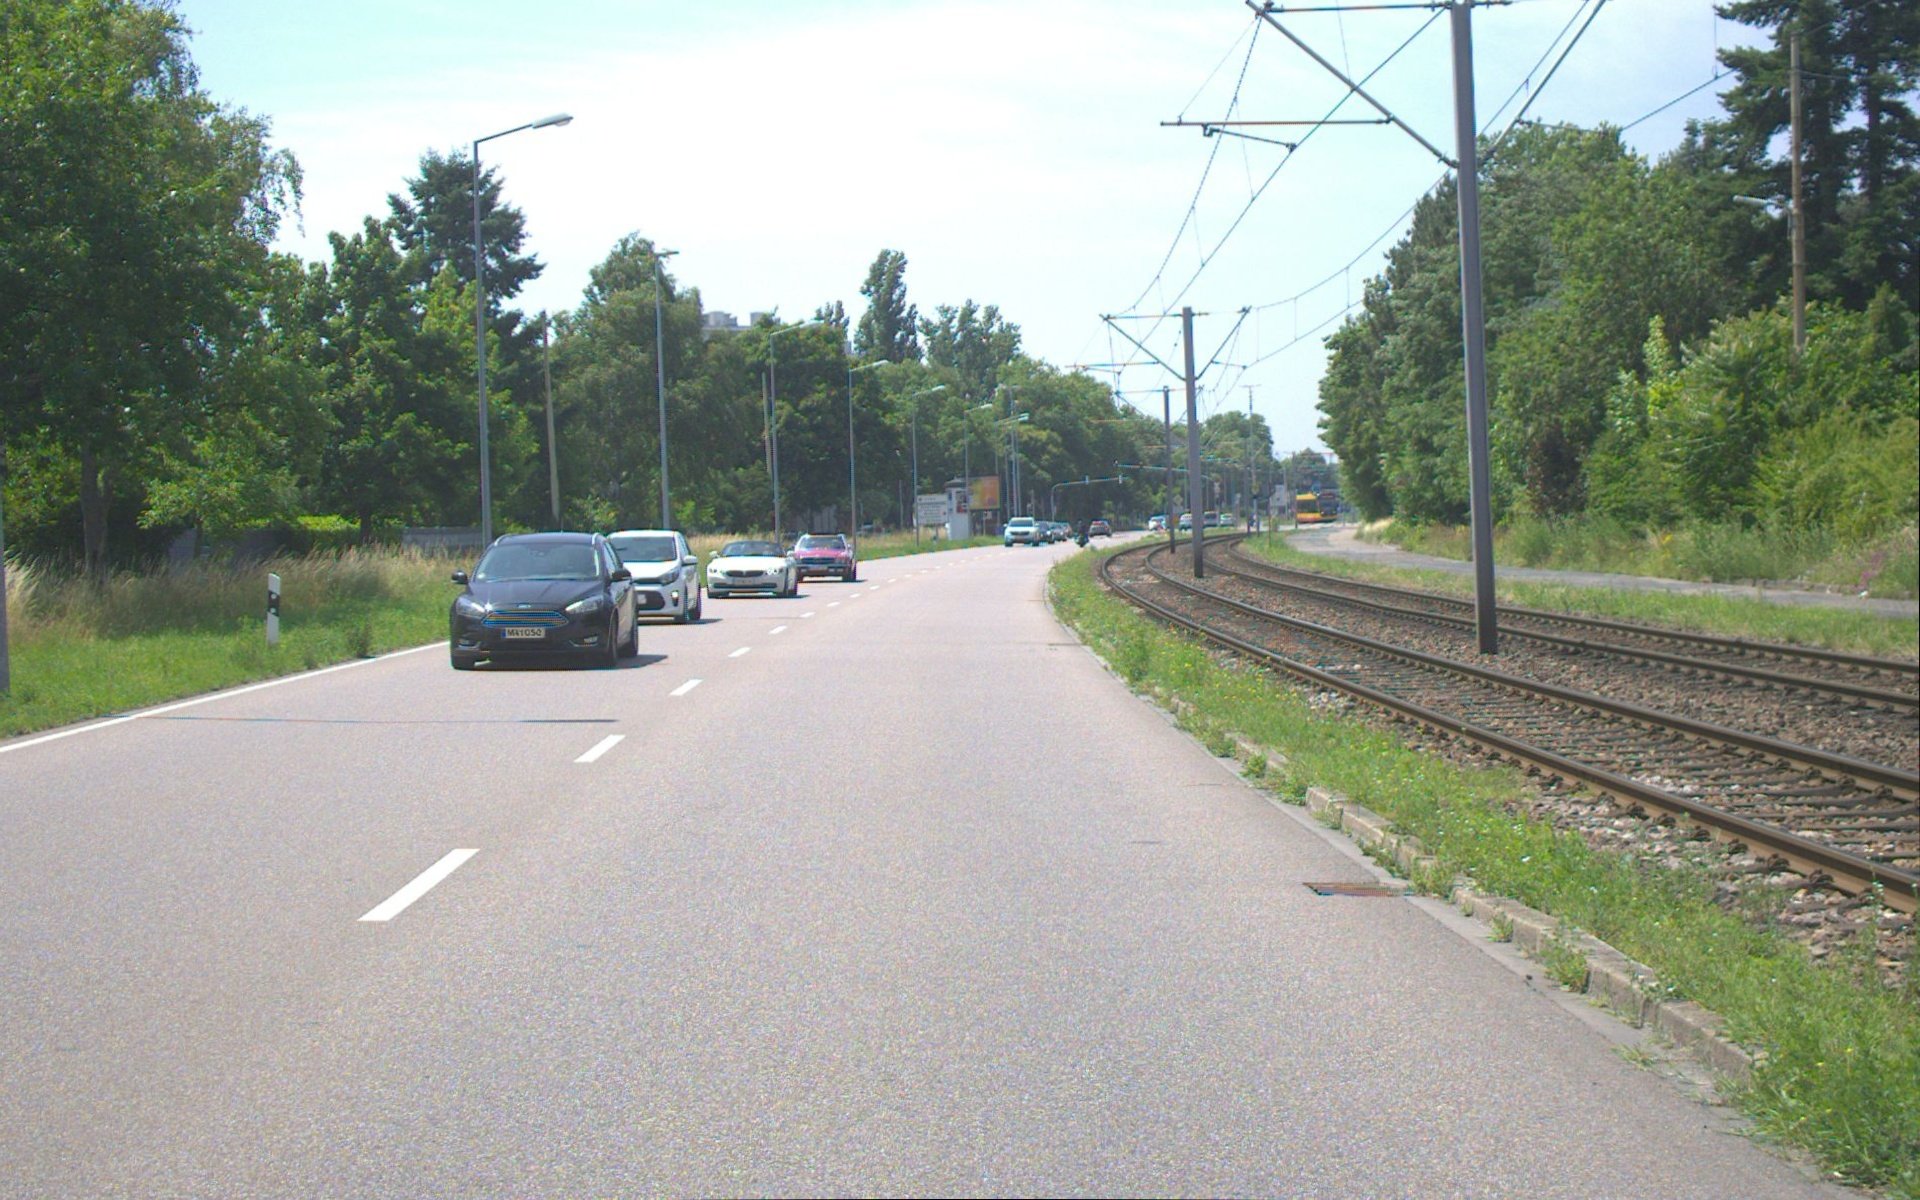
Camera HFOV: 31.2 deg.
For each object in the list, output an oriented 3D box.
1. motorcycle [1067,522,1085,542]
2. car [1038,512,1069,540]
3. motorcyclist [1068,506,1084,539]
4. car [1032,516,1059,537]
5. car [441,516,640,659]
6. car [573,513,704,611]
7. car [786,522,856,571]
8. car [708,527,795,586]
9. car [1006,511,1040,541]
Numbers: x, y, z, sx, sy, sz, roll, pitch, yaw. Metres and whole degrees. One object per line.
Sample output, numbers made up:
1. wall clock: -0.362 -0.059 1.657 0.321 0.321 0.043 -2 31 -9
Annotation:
1. motorcycle: 6.889 -4.025 203.464 0.970 1.113 2.732 -1 1 4
2. car: 6.164 -4.841 225.528 1.935 1.790 4.711 -1 1 3
3. motorcyclist: 6.886 -4.587 203.568 0.891 1.898 1.015 -1 1 4
4. car: 6.270 -5.362 251.419 1.817 1.488 4.363 -1 1 3
5. car: -4.632 -0.175 38.479 1.700 1.486 4.440 -1 1 0
6. car: -5.135 -0.630 55.294 1.747 1.498 3.707 -1 1 0
7. car: -3.817 -1.486 94.976 1.749 1.296 4.253 -1 1 0
8. car: -4.587 -0.969 76.182 1.682 1.245 3.909 -1 1 0
9. car: 3.844 -4.499 209.459 1.935 1.790 4.711 -1 1 3
